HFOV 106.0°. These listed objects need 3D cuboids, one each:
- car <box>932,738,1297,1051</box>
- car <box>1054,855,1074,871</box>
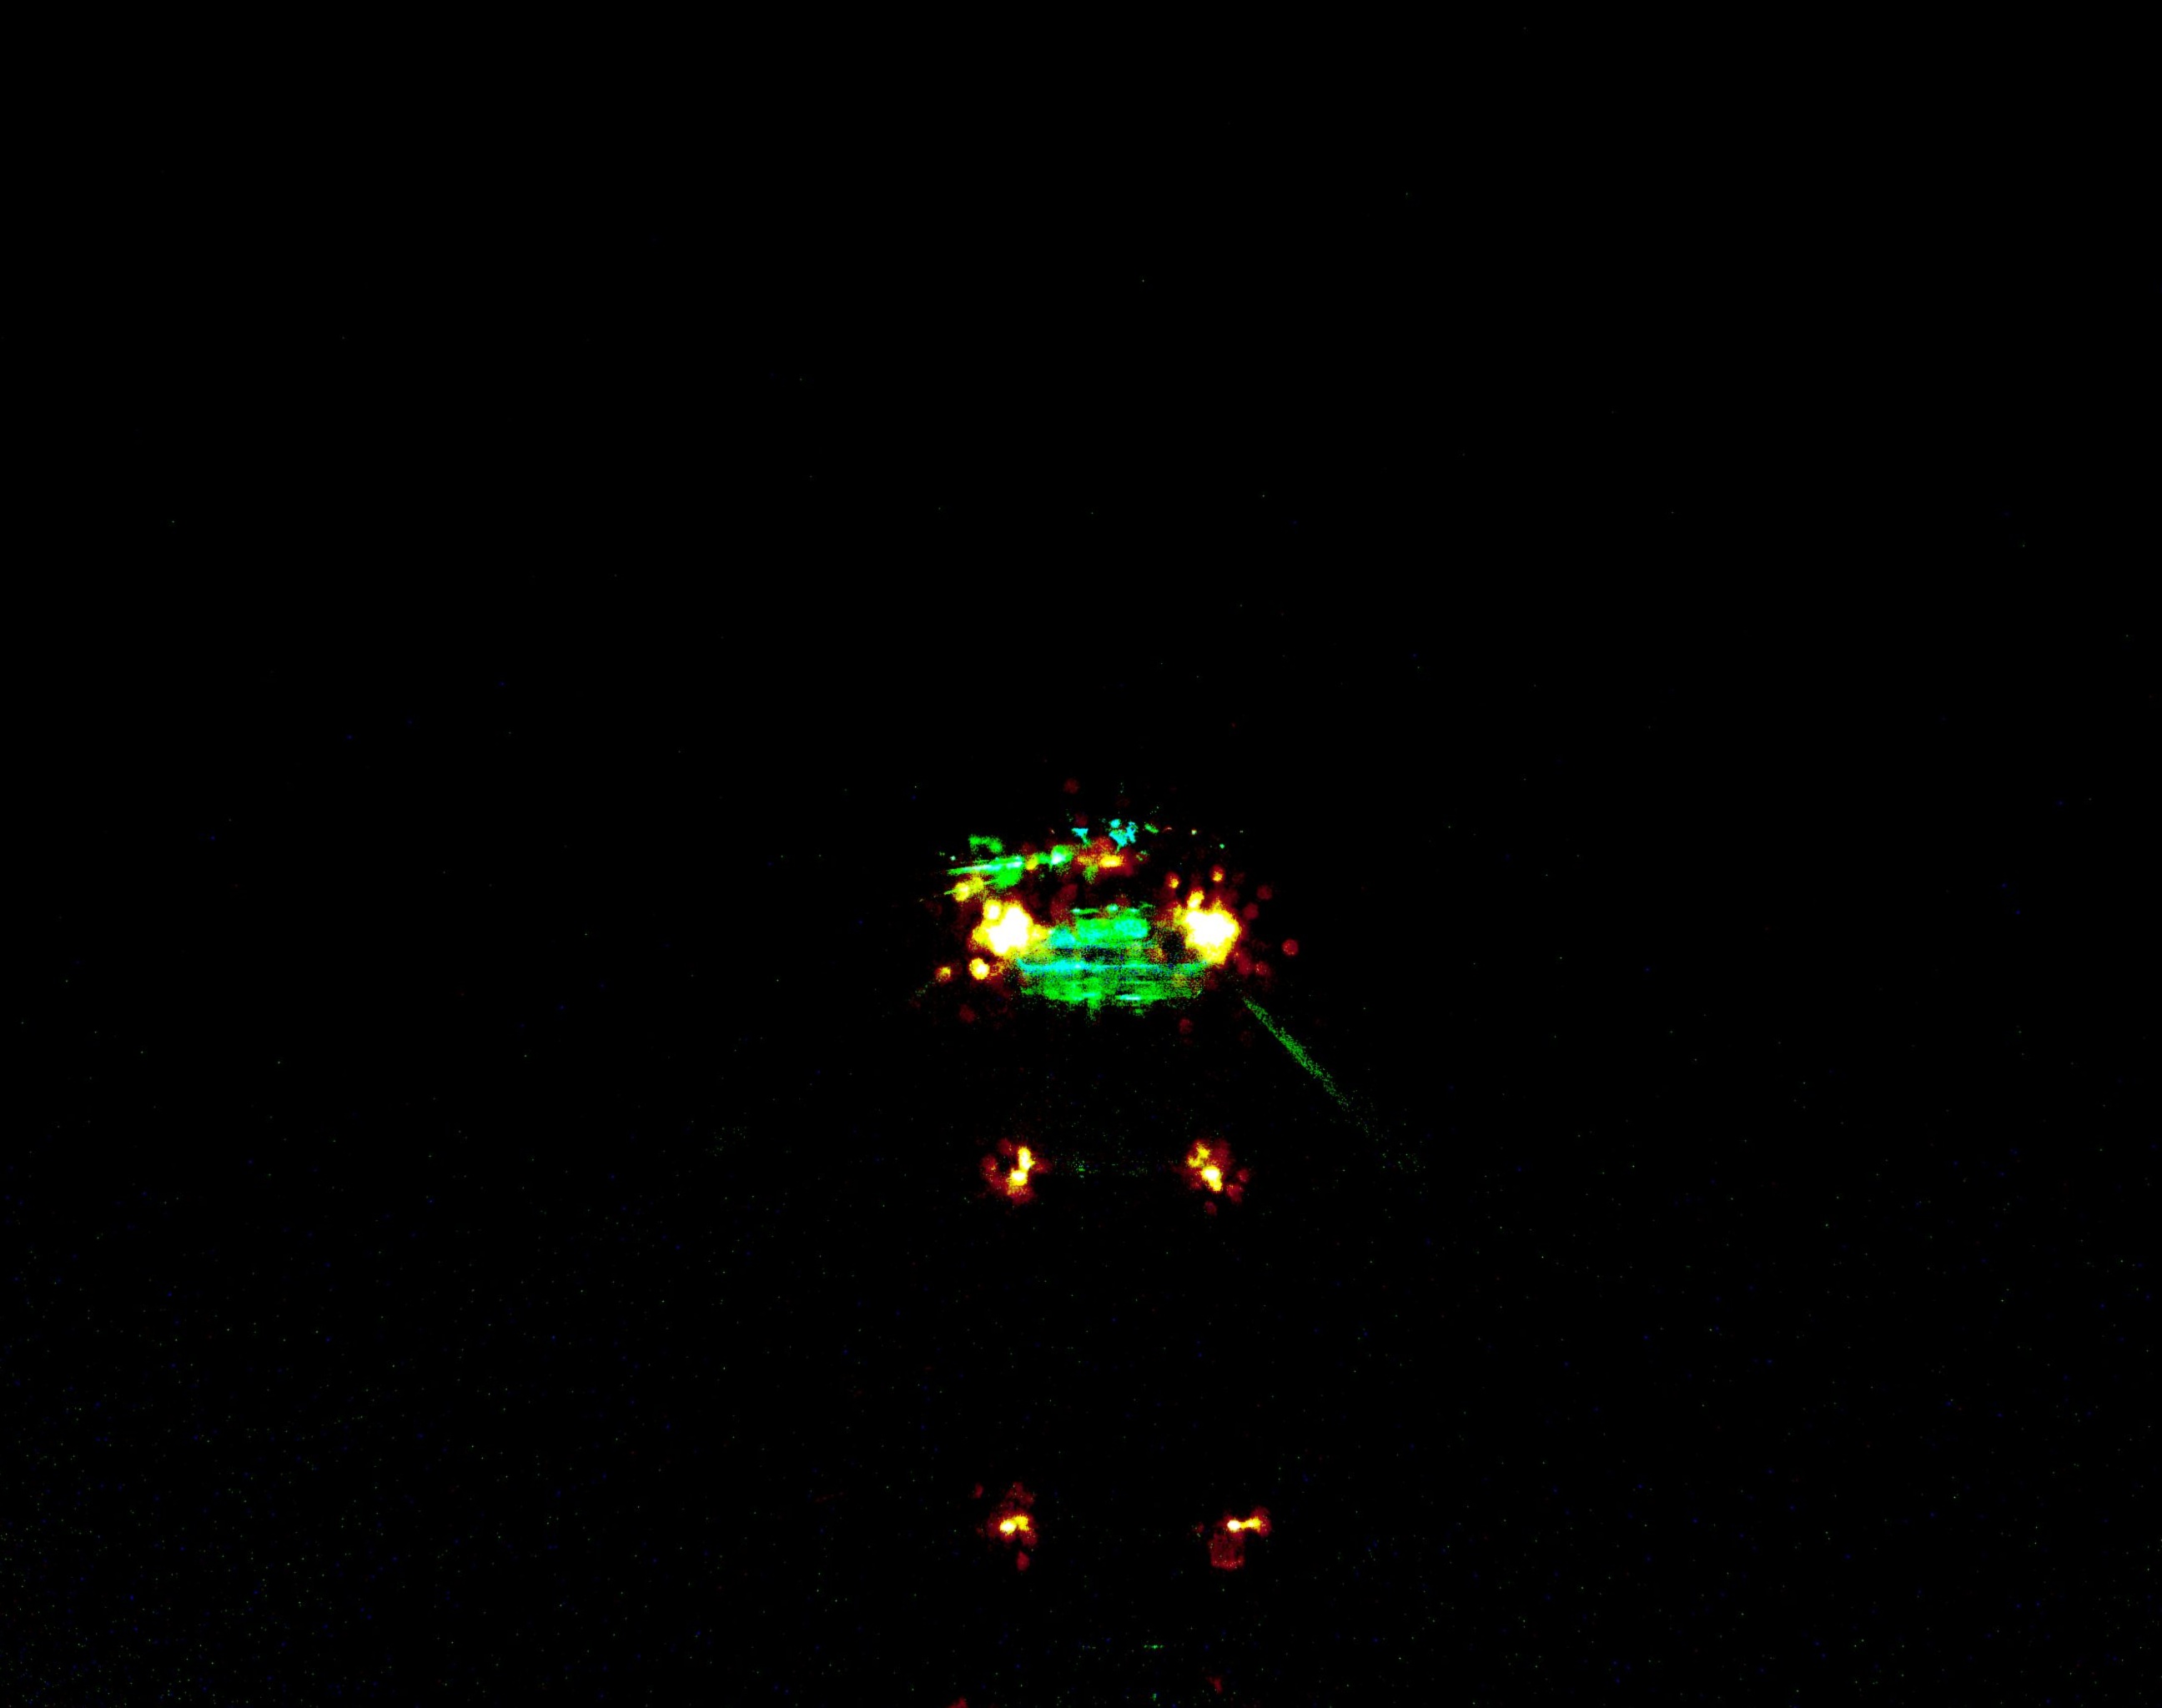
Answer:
[{"bbox_3d":[0.340,0.297,9.166,2.705,2.307,6.103,-1,0,2],"label":"car"},{"bbox_3d":[-1.685,0.896,81.069,1.536,1.510,3.885,-1,0,5],"label":"car"}]
